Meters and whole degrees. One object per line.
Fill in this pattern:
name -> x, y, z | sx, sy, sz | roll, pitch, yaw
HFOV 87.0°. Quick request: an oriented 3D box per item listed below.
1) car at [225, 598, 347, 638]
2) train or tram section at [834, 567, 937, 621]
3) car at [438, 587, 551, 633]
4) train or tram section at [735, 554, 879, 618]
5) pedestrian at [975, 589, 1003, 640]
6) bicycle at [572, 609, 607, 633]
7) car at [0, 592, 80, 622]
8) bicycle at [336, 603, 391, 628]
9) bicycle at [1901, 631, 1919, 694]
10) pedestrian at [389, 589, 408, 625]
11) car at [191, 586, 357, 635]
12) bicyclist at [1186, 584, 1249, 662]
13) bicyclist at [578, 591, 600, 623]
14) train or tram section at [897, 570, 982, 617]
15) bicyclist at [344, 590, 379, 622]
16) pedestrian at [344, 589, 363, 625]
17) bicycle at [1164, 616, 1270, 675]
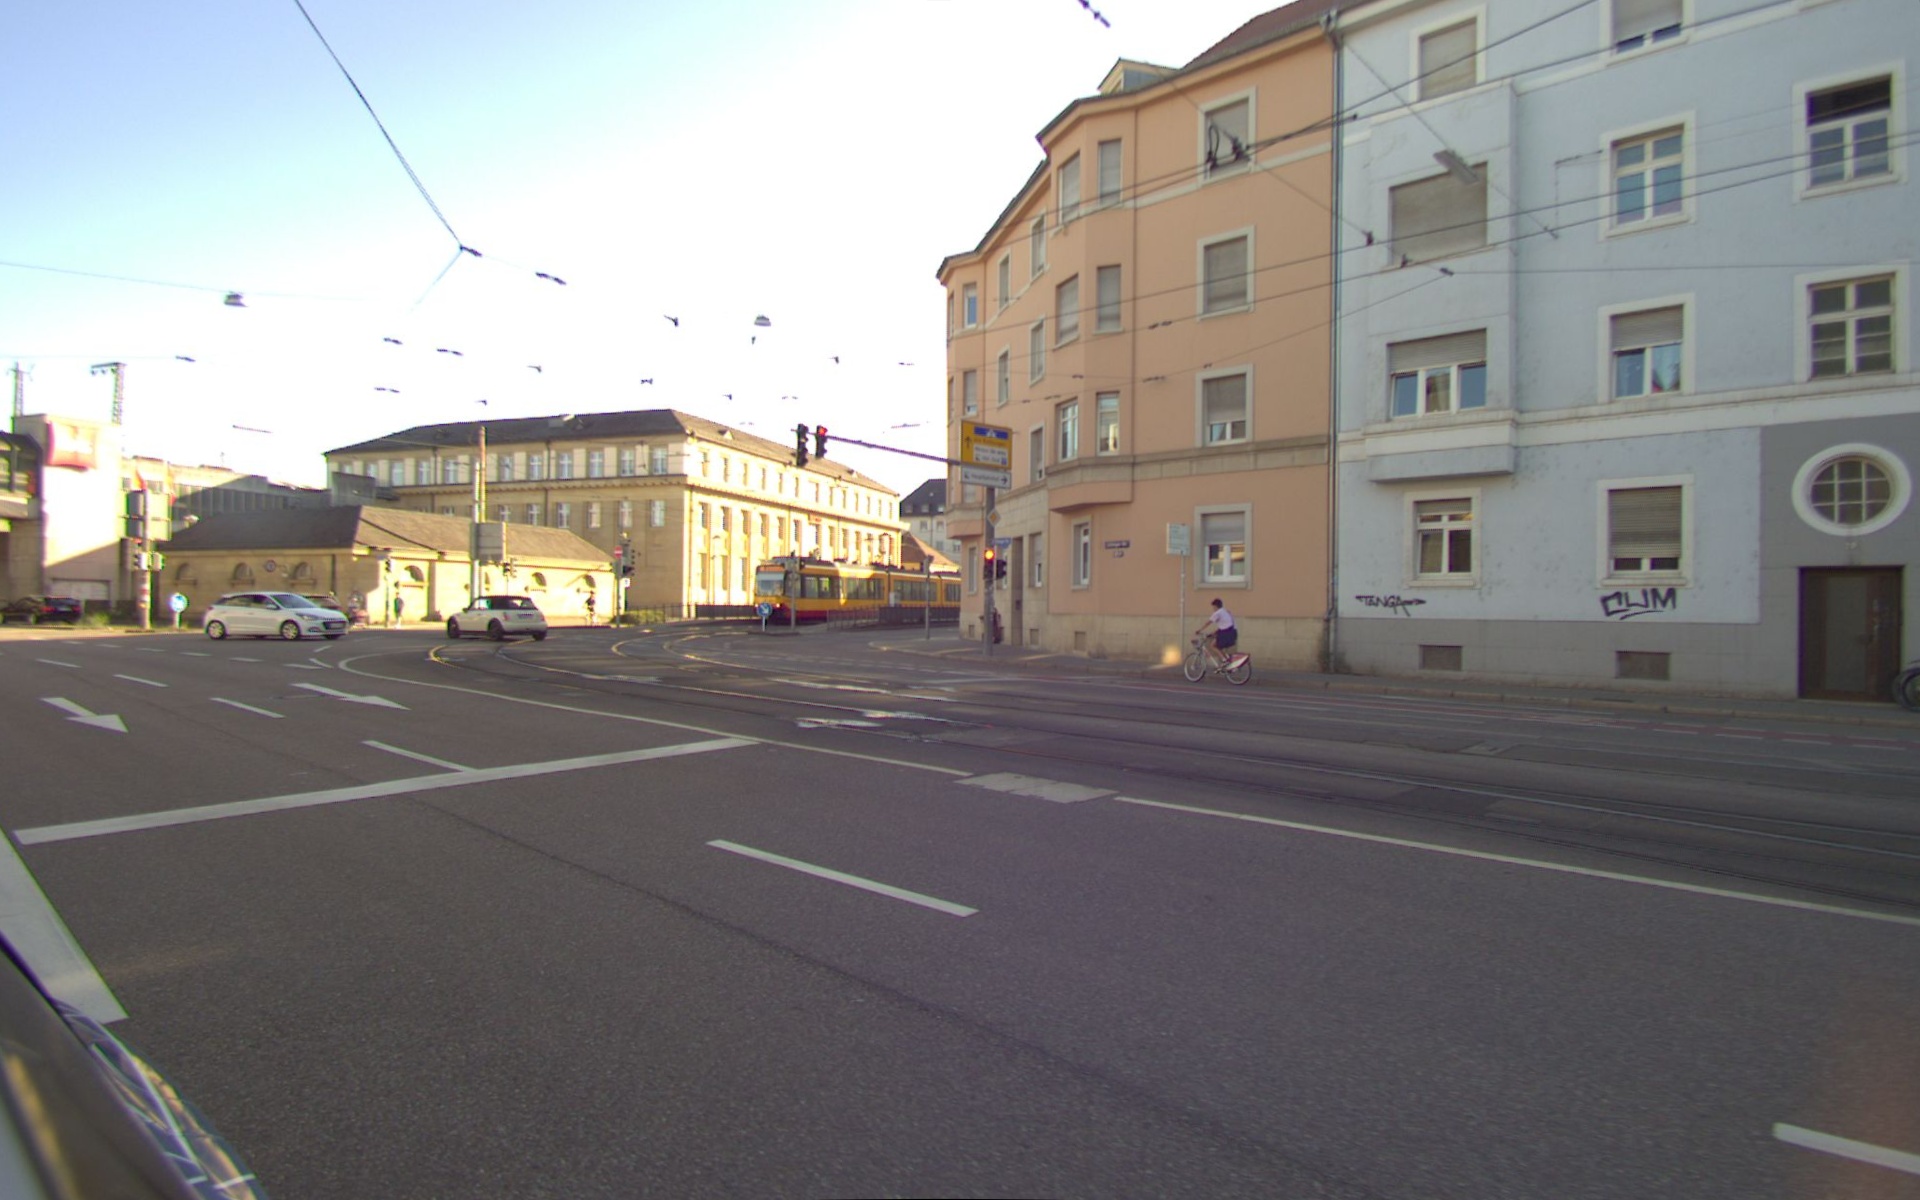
car -> -25.981, 0.670, 39.011 | 4.472, 1.466, 1.912 | 0, 0, 25
train or tram section -> -4.910, -0.442, 69.553 | 3.141, 3.381, 10.612 | 0, 1, 19
car -> -14.720, 0.316, 31.982 | 3.527, 1.385, 1.711 | 0, -1, 36
train or tram section -> -8.575, -0.699, 59.044 | 3.143, 3.346, 11.741 | 0, 0, 19
pedestrian -> 0.909, 0.445, 31.649 | 0.666, 1.575, 0.722 | 1, -1, -14
bicycle -> -19.288, 1.076, 52.701 | 0.679, 1.144, 2.065 | 0, 1, 14
car -> -44.939, 0.311, 48.770 | 4.531, 1.403, 1.985 | 0, 0, 22
bicycle -> -25.778, 0.657, 43.699 | 3.350, 1.064, 0.925 | 0, -1, 39
bicycle -> 16.107, 1.019, 15.913 | 1.876, 0.987, 0.599 | 1, 1, 41
pedestrian -> -25.805, 0.330, 46.540 | 0.616, 1.652, 0.490 | 1, -1, -7
car -> -20.768, 0.322, 30.717 | 4.059, 1.404, 1.787 | 0, 0, 9
bicyclist -> 5.642, 0.492, 22.170 | 1.125, 1.655, 0.738 | 0, -1, 42
bicyclist -> -19.293, 0.356, 52.688 | 0.671, 1.652, 0.935 | 0, 0, 15
train or tram section -> -1.396, -0.525, 79.572 | 3.141, 3.381, 10.780 | 0, 1, 19
bicyclist -> -25.923, 0.258, 43.825 | 1.146, 1.393, 0.925 | 0, -1, 38
pedestrian -> -28.102, 0.342, 46.894 | 0.616, 1.652, 0.515 | 1, -1, -7
bicycle -> 5.614, 0.962, 22.171 | 2.151, 1.200, 0.738 | 0, -1, 42
